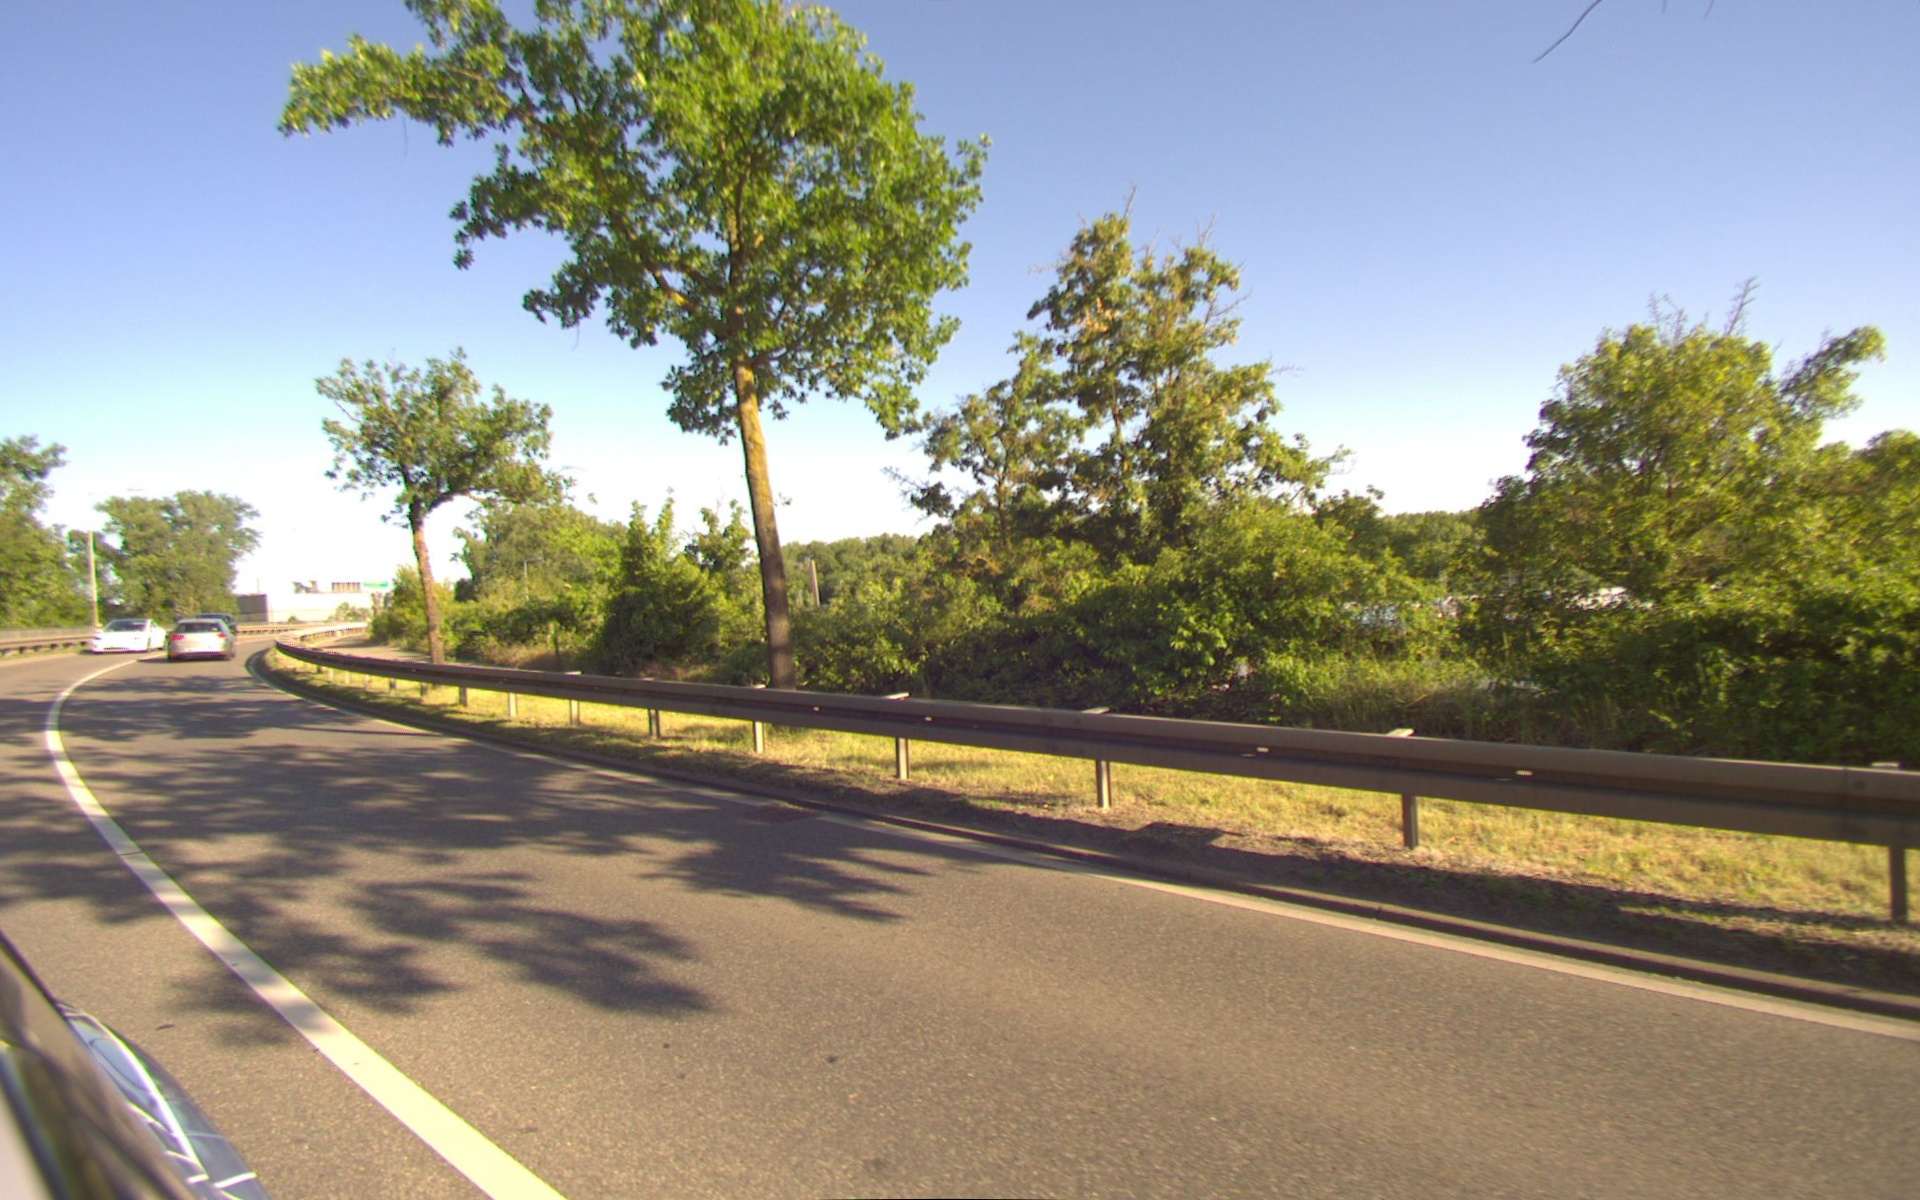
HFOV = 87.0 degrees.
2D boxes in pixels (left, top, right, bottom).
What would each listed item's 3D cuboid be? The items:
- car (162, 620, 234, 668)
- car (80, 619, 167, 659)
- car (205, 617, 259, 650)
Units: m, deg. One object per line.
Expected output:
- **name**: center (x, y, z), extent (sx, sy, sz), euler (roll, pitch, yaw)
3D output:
- **car**: center (-26.354, 1.474, 35.108), extent (1.672, 1.530, 3.992), euler (0, -1, -32)
- **car**: center (-35.398, 1.608, 42.966), extent (2.114, 1.579, 4.211), euler (0, -1, -29)
- **car**: center (-41.405, 1.870, 57.631), extent (1.655, 1.717, 3.617), euler (-1, 0, -21)
